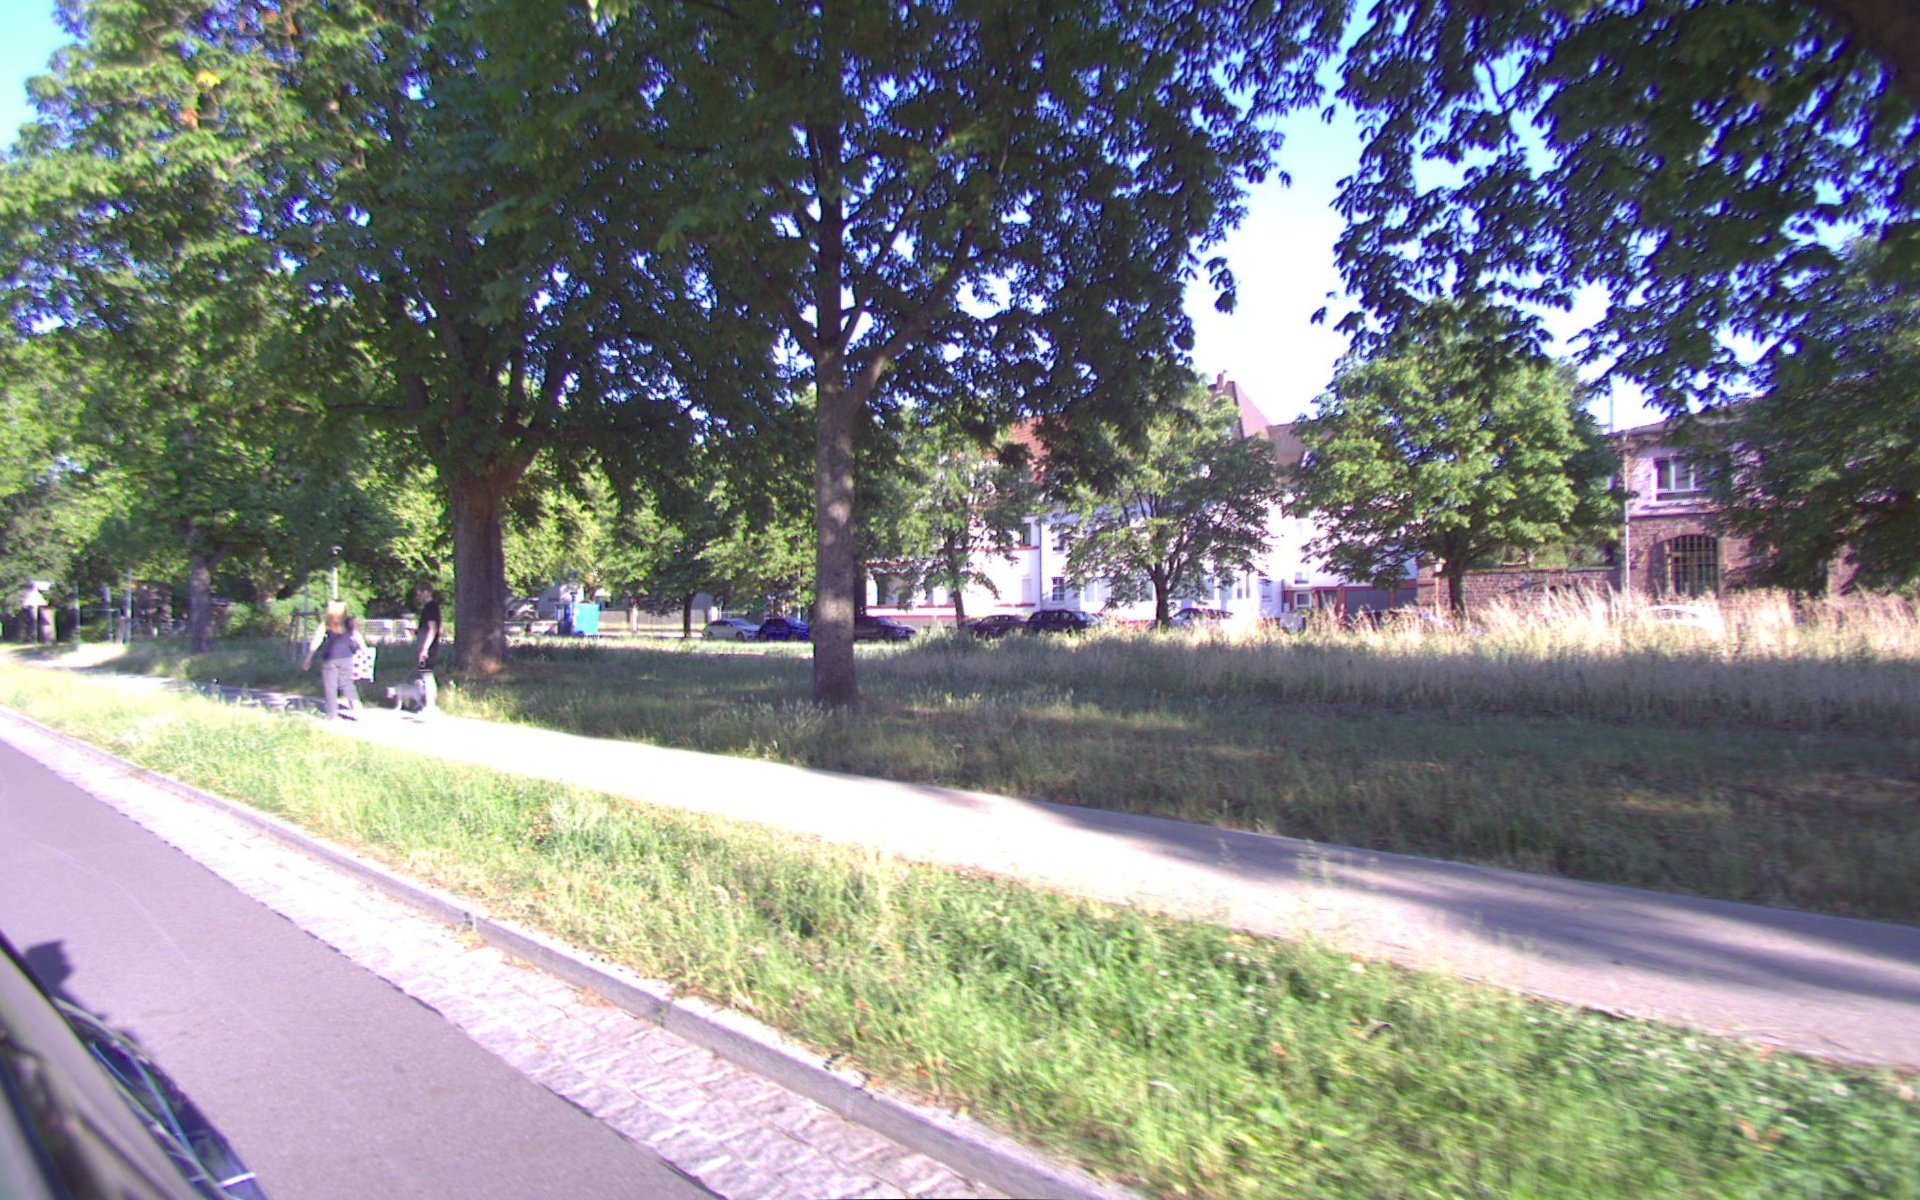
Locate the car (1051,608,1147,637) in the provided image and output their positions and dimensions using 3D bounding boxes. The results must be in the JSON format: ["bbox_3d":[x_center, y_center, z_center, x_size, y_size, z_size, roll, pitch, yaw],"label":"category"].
[{"bbox_3d":[6.678,1.079,48.992,4.478,1.342,1.553,-1,0,43],"label":"car"}]

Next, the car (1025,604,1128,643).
[{"bbox_3d":[4.997,1.019,43.896,4.218,1.609,1.675,-2,-1,41],"label":"car"}]

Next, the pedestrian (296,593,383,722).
[{"bbox_3d":[-8.204,0.735,13.382,0.952,1.627,0.774,-2,-1,45],"label":"pedestrian"}]

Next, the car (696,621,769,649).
[{"bbox_3d":[-13.599,2.085,60.405,4.750,1.609,1.676,-2,-1,38],"label":"car"}]

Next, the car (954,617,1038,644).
[{"bbox_3d":[1.861,1.592,53.248,4.480,1.342,1.553,-1,0,43],"label":"car"}]

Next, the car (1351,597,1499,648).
[{"bbox_3d":[15.585,0.758,34.046,4.218,1.609,1.675,-2,-1,41],"label":"car"}]

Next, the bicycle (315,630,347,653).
[{"bbox_3d":[-35.147,2.316,56.560,0.417,1.196,1.579,0,-1,18],"label":"bicycle"}]

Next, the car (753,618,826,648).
[{"bbox_3d":[-9.608,1.831,56.971,4.216,1.609,1.676,-2,-1,38],"label":"car"}]

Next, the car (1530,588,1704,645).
[{"bbox_3d":[19.720,0.495,30.471,4.218,1.609,1.675,-2,-1,41],"label":"car"}]

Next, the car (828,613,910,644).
[{"bbox_3d":[-4.727,1.463,52.236,4.217,1.487,1.676,-2,-1,40],"label":"car"}]

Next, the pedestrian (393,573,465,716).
[{"bbox_3d":[-7.141,0.586,13.605,0.886,1.845,0.617,-2,-1,45],"label":"pedestrian"}]

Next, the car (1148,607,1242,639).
[{"bbox_3d":[10.533,1.015,45.536,3.851,1.342,1.553,-1,0,43],"label":"car"}]

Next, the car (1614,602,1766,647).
[{"bbox_3d":[24.365,0.804,33.860,3.998,1.416,1.612,-2,-1,41],"label":"car"}]

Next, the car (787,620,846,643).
[{"bbox_3d":[-9.005,1.952,63.398,3.851,1.342,1.553,-1,0,43],"label":"car"}]
